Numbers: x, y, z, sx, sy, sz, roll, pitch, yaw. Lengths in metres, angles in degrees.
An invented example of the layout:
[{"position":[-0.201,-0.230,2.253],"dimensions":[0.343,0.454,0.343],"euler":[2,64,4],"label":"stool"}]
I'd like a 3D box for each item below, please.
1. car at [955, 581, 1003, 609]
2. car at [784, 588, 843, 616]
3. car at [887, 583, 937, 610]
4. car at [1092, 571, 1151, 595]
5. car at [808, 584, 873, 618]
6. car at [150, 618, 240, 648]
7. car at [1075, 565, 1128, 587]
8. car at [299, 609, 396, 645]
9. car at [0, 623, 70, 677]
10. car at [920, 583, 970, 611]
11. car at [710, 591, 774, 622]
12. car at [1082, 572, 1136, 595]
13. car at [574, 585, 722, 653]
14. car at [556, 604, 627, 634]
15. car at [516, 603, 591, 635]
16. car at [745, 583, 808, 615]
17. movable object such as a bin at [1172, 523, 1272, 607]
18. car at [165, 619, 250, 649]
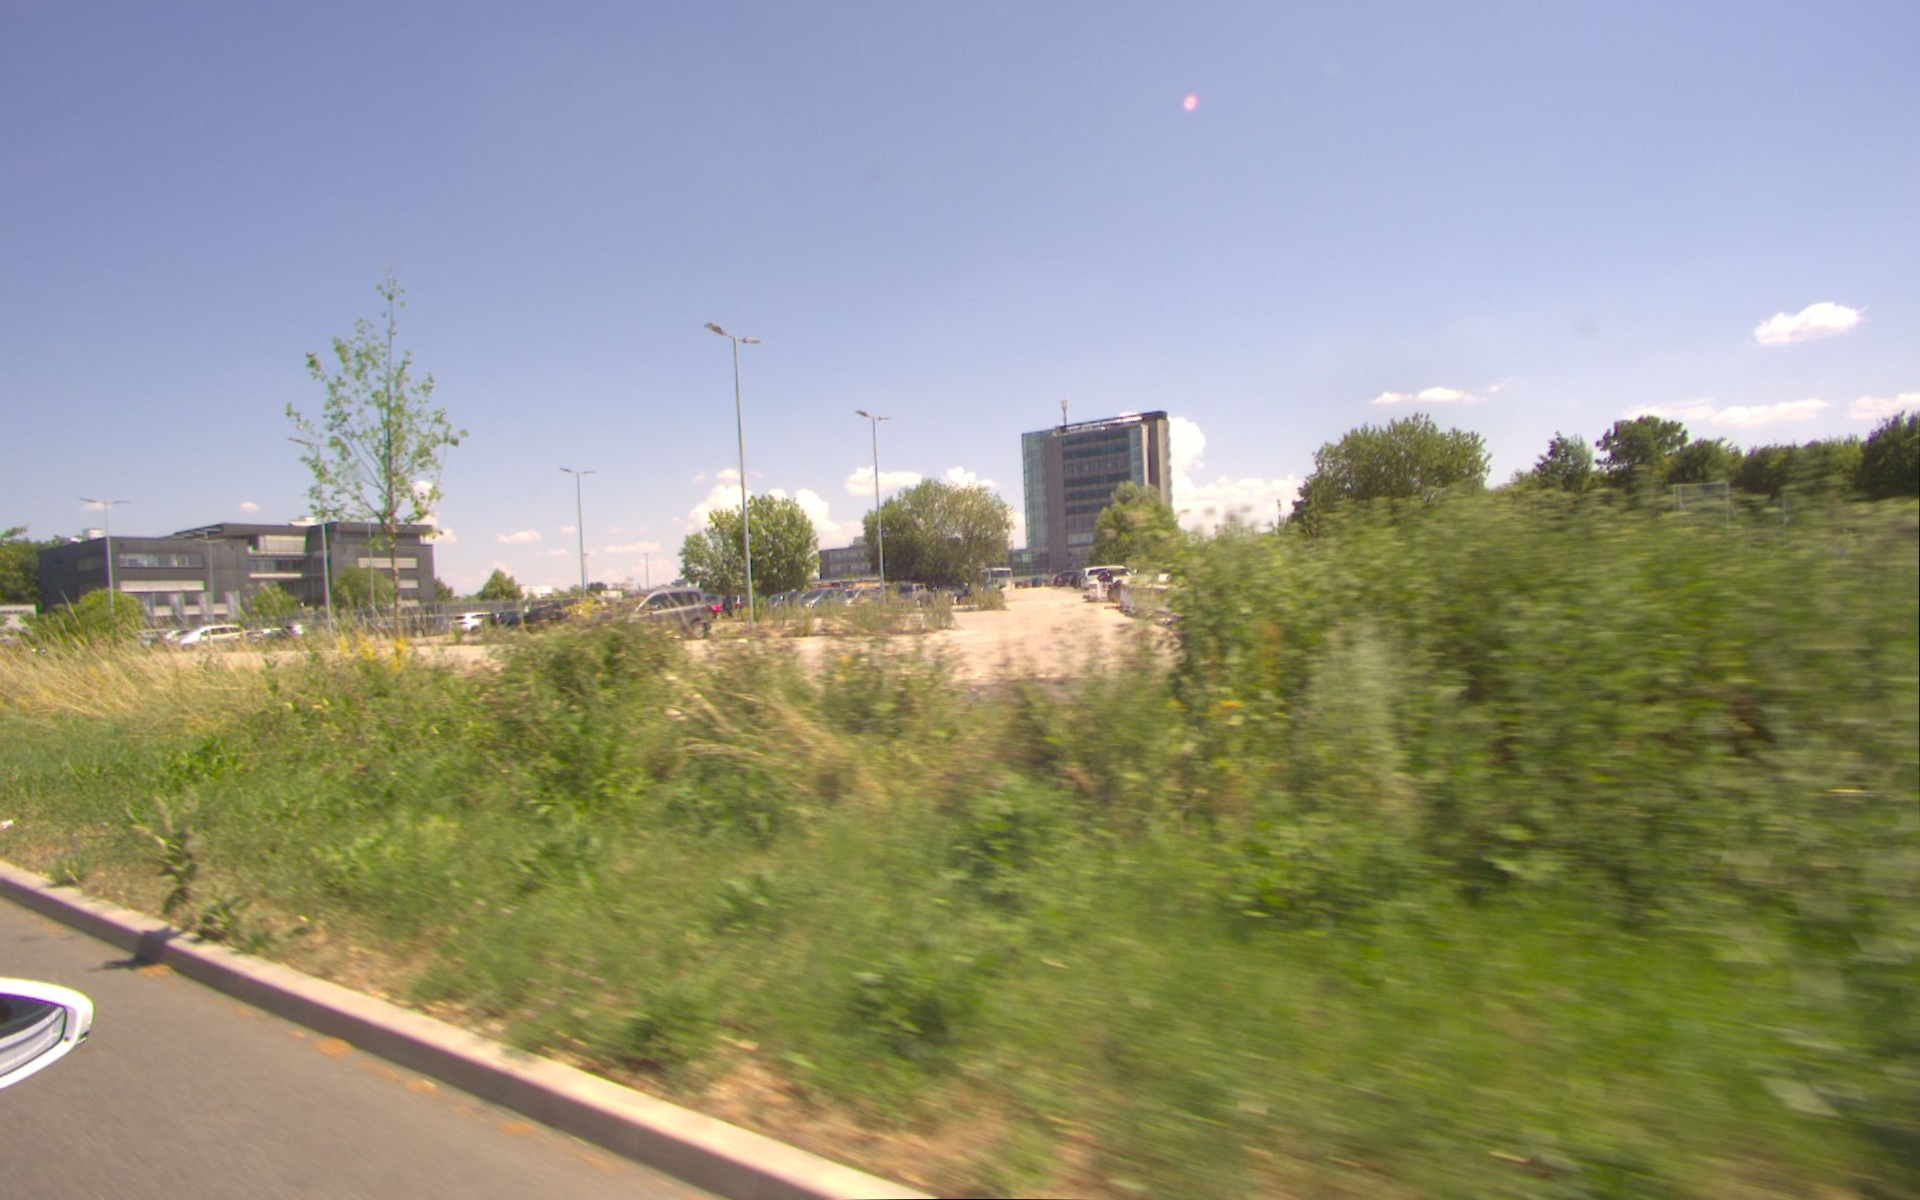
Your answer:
[{"position":[1.300,-0.328,65.879],"dimensions":[1.965,1.663,3.988],"euler":[0,3,20],"label":"car"},{"position":[-8.502,0.070,58.520],"dimensions":[1.691,1.440,3.988],"euler":[0,3,20],"label":"car"},{"position":[-3.252,-0.283,68.232],"dimensions":[1.965,1.663,3.988],"euler":[0,3,20],"label":"car"},{"position":[11.645,-1.223,72.427],"dimensions":[3.922,1.550,1.875],"euler":[-3,1,0],"label":"car"},{"position":[-6.683,0.020,56.213],"dimensions":[1.965,1.663,3.987],"euler":[0,3,21],"label":"car"},{"position":[-50.784,2.137,66.534],"dimensions":[1.741,1.618,4.358],"euler":[1,3,29],"label":"car"},{"position":[11.361,-1.897,80.600],"dimensions":[3.922,1.550,1.875],"euler":[-3,1,0],"label":"car"},{"position":[-33.277,1.464,54.504],"dimensions":[1.900,1.663,3.976],"euler":[-3,1,32],"label":"car"},{"position":[-33.884,1.824,34.783],"dimensions":[1.900,1.746,3.976],"euler":[-3,1,32],"label":"car"},{"position":[-0.965,-0.226,66.451],"dimensions":[1.965,1.663,3.988],"euler":[0,3,20],"label":"car"},{"position":[-13.258,0.351,61.079],"dimensions":[1.965,1.663,3.988],"euler":[0,3,20],"label":"car"},{"position":[11.562,-1.283,77.868],"dimensions":[3.922,1.550,1.875],"euler":[-3,1,0],"label":"car"},{"position":[-10.229,0.562,33.165],"dimensions":[1.911,1.941,4.452],"euler":[-1,2,31],"label":"car"},{"position":[-21.860,1.083,59.495],"dimensions":[1.707,1.485,3.790],"euler":[1,3,28],"label":"car"},{"position":[-24.610,1.114,60.775],"dimensions":[1.965,1.663,3.988],"euler":[0,3,20],"label":"car"},{"position":[-10.889,-0.070,59.758],"dimensions":[1.965,1.663,3.988],"euler":[2,4,20],"label":"car"},{"position":[13.814,-1.922,53.576],"dimensions":[2.930,4.101,8.097],"euler":[-1,3,-2],"label":"movable object such as a bin"},{"position":[-48.644,2.181,64.838],"dimensions":[1.741,1.618,3.980],"euler":[1,3,29],"label":"car"}]
